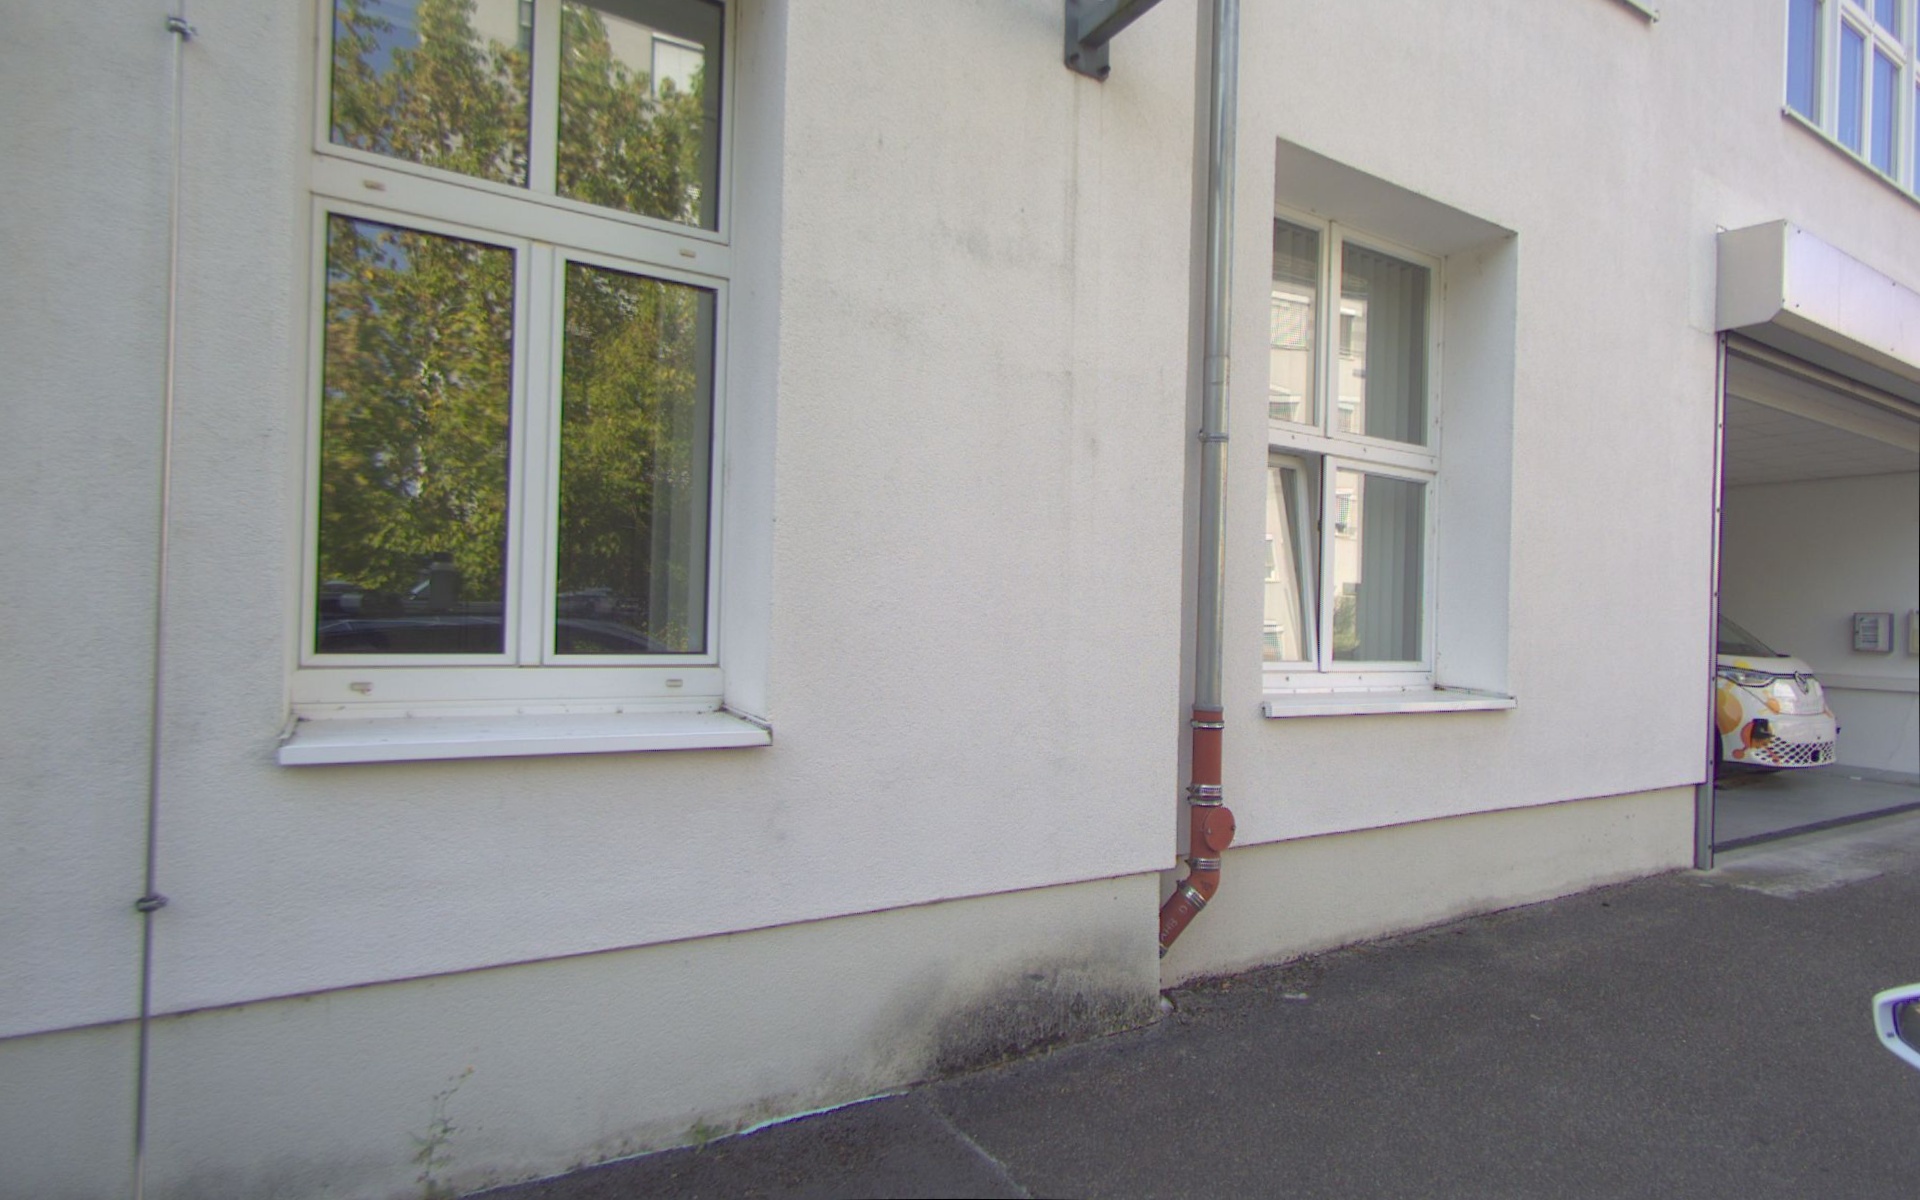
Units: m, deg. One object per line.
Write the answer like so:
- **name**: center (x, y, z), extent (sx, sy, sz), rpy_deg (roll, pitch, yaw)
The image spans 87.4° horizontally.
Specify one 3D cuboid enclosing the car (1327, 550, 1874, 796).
- **car**: center (6.755, 0.629, 11.240), extent (2.032, 2.120, 4.723), rpy_deg (3, 0, -30)
